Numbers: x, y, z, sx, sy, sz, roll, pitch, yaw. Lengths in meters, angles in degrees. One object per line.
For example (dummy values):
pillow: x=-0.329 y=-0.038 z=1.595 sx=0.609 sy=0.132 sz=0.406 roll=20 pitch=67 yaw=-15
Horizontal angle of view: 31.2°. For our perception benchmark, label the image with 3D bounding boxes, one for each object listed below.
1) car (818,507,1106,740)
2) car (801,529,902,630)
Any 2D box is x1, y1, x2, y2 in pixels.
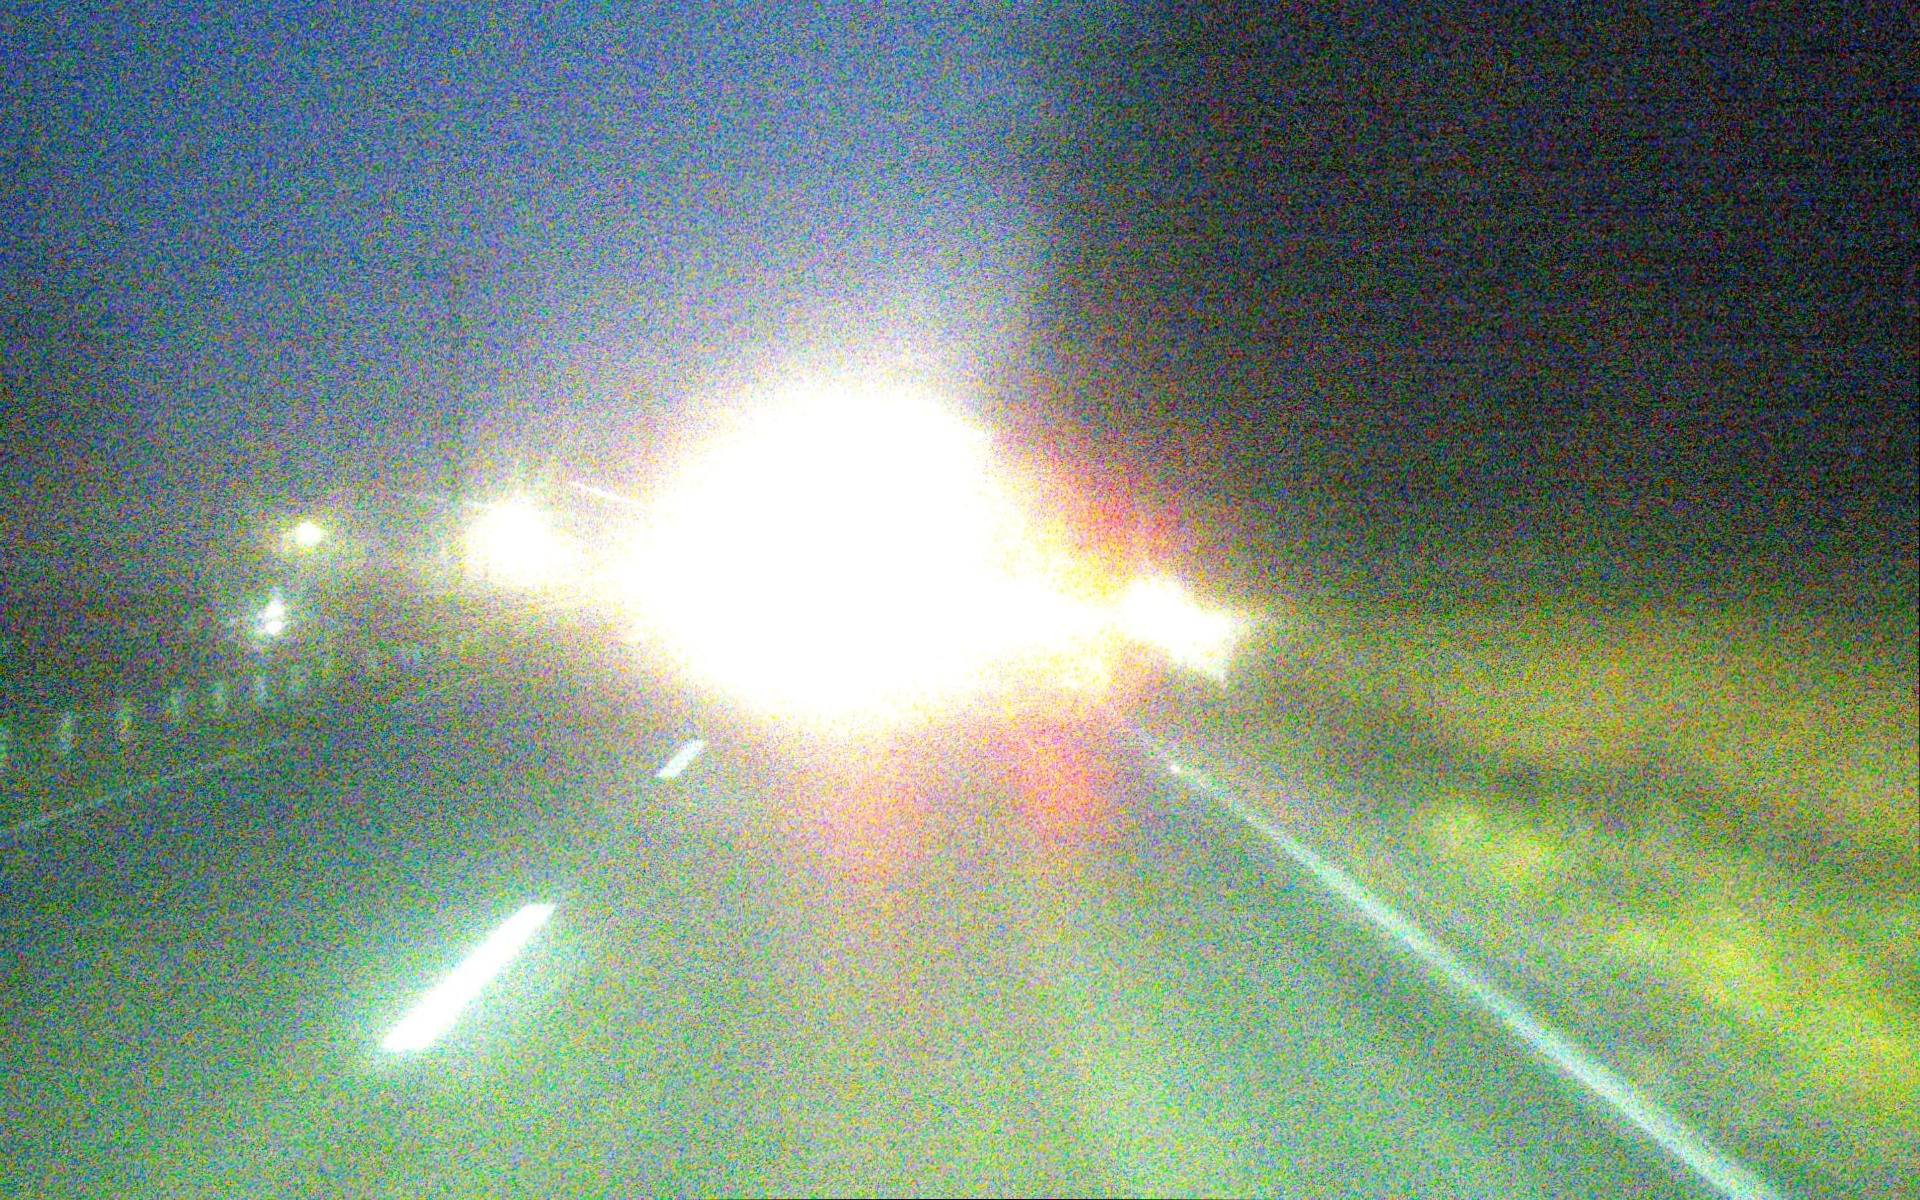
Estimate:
car: x=0.029 y=0.232 z=32.740 sx=2.458 sy=1.952 sz=4.911 roll=-2 pitch=-1 yaw=0
car: x=-2.216 y=-0.445 z=70.285 sx=1.993 sy=2.007 sz=4.000 roll=0 pitch=1 yaw=-2
